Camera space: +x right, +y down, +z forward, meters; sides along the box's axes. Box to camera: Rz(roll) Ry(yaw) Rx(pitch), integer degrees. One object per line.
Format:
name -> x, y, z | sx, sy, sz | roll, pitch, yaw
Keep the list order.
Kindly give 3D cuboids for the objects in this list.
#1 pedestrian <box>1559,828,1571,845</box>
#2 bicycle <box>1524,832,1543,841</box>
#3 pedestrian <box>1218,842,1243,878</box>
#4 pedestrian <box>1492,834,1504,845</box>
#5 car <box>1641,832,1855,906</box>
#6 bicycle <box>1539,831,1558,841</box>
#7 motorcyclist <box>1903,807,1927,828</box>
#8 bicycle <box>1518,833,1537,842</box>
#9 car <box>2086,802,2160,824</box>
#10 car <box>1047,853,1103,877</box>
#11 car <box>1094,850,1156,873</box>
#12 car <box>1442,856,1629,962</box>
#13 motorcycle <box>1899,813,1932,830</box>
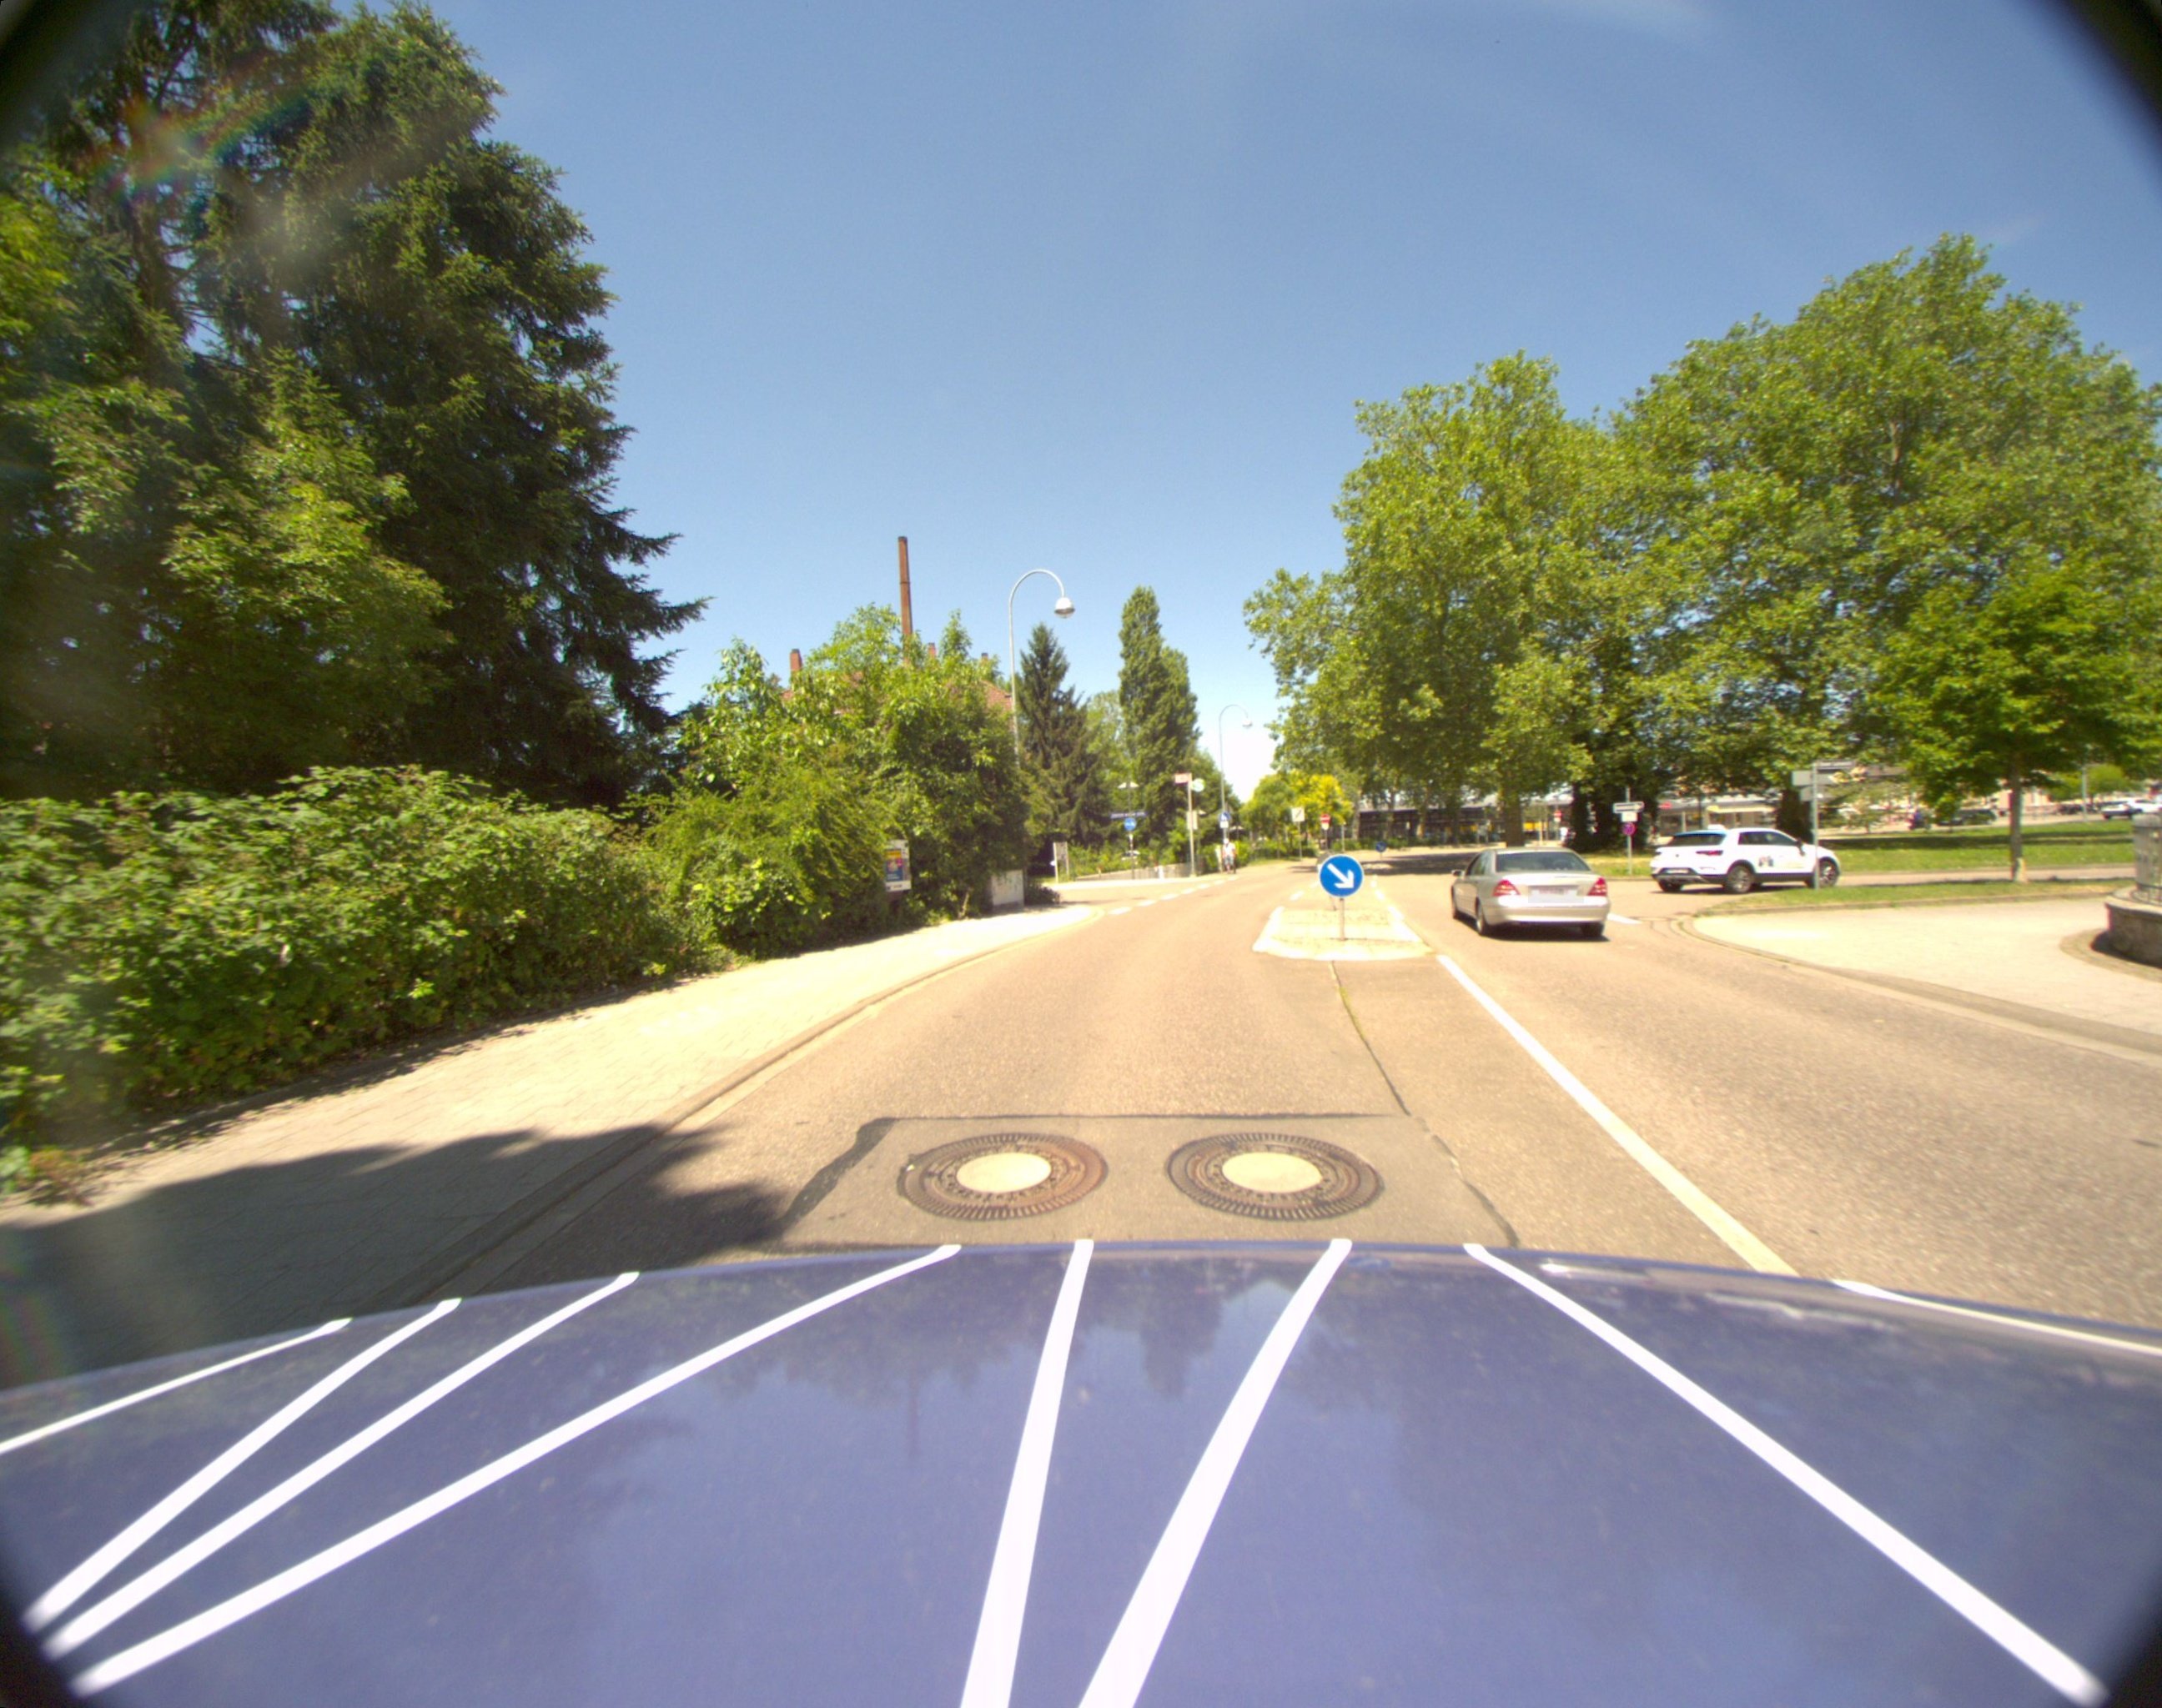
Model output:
pedestrian -> 49.603, -1.767, 77.877 | 0.912, 1.726, 0.677 | -2, 1, 43
bicycle -> 61.344, -2.386, 103.034 | 2.169, 1.067, 0.670 | -6, 3, -6
pedestrian -> 7.676, 0.298, 39.037 | 0.912, 1.762, 0.917 | 0, 2, 40
pedestrian -> 50.861, -1.812, 92.689 | 0.868, 1.267, 0.830 | -3, 1, -13
car -> 16.329, 0.330, 18.655 | 4.306, 1.613, 1.876 | -1, 0, -16
bicycle -> 61.711, -2.416, 100.300 | 2.169, 1.067, 0.670 | -6, 3, -6
motorcyclist -> 66.143, -2.912, 60.236 | 1.105, 1.546, 0.809 | -3, 1, -12
bicycle -> 61.244, -2.272, 104.231 | 2.169, 1.067, 0.670 | -6, 3, -6
car -> 87.713, -3.453, 64.000 | 4.324, 1.737, 2.047 | -2, 2, -12
car -> -0.487, 0.817, 56.215 | 3.968, 1.527, 1.655 | -3, 0, -5
car -> 3.444, 0.589, 59.298 | 4.500, 1.491, 1.769 | -3, 0, -9
car -> 7.410, 0.781, 12.865 | 1.760, 1.427, 4.309 | -1, 0, 17
motorcycle -> 66.093, -2.598, 60.207 | 2.051, 1.224, 0.809 | -3, 1, -12
